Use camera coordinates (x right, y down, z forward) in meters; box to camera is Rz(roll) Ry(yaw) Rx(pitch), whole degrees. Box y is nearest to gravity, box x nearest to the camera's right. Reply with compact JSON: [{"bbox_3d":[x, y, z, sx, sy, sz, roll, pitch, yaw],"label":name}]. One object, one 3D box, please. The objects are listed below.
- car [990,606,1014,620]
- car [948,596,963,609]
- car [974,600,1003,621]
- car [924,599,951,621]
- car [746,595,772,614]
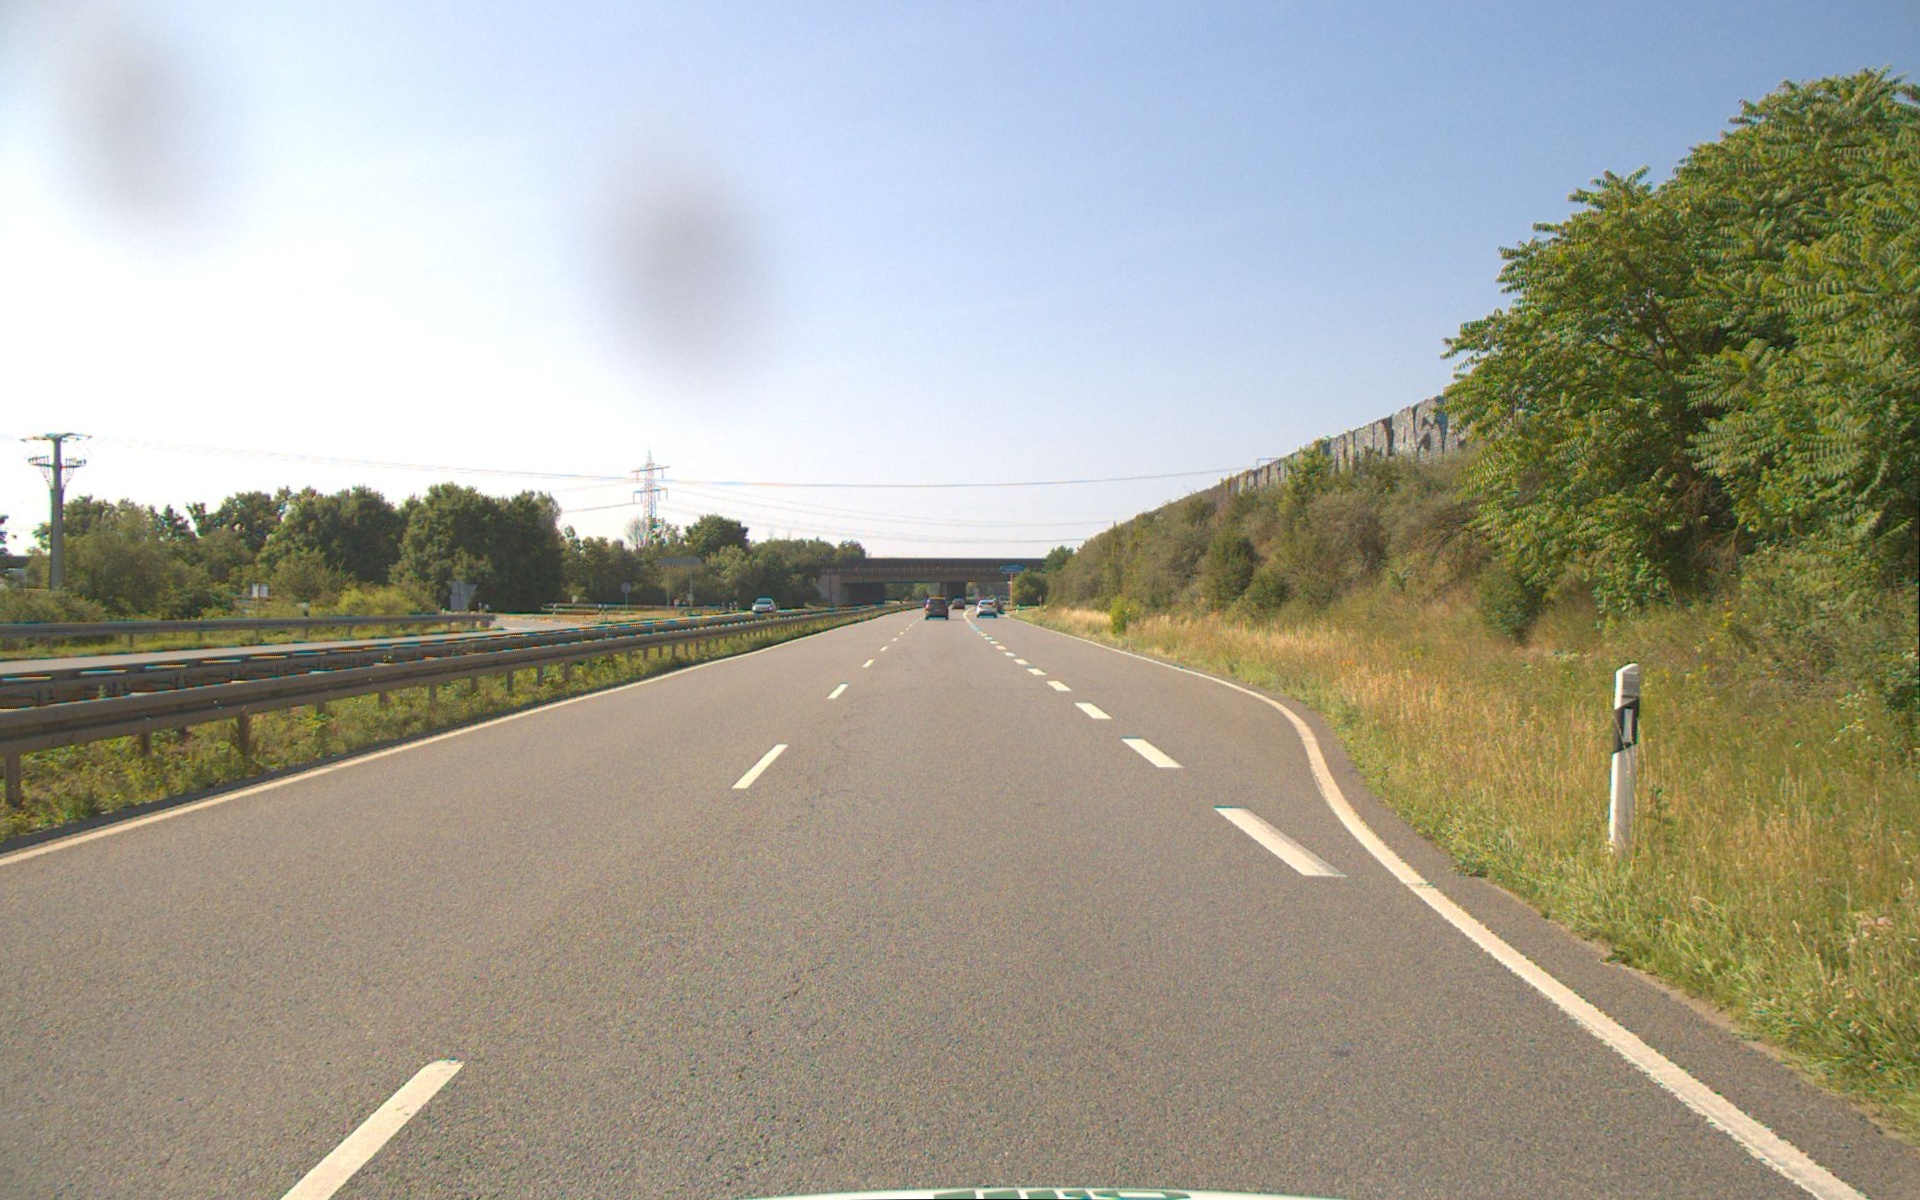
[{"bbox_3d":[4.397,1.331,174.234,1.861,1.320,4.003,2,0,11],"label":"car"},{"bbox_3d":[-0.577,0.311,220.077,1.811,1.673,4.001,0,0,2],"label":"car"},{"bbox_3d":[2.432,0.865,140.378,1.758,1.694,4.003,2,0,11],"label":"car"},{"bbox_3d":[-1.663,0.748,124.081,1.811,1.673,4.001,0,0,2],"label":"car"},{"bbox_3d":[-17.095,0.348,140.644,1.666,1.511,4.619,3,0,-1],"label":"car"}]
